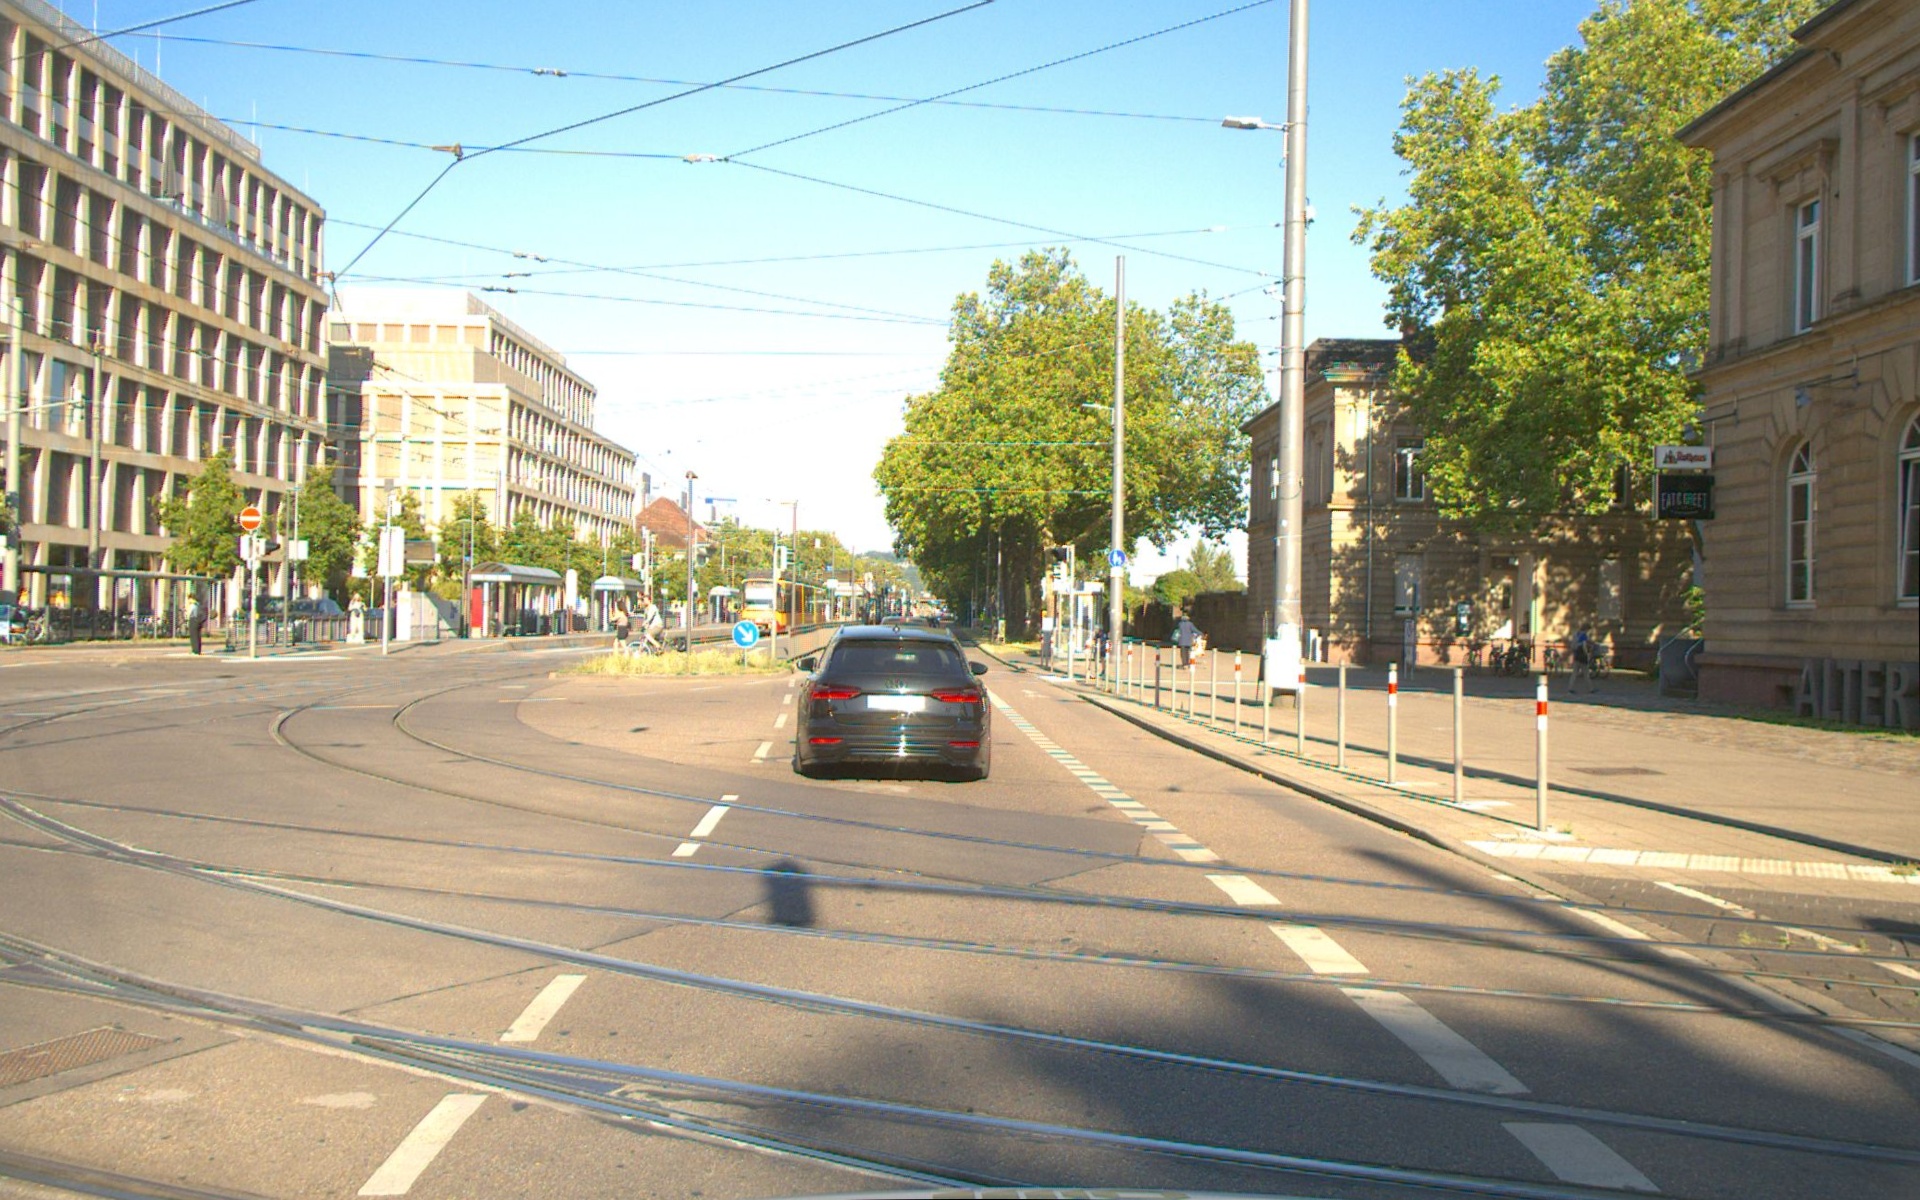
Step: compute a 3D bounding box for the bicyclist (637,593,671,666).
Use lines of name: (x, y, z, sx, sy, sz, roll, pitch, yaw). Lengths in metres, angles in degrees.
bicyclist: (-7.847, 0.761, 42.394, 0.744, 1.850, 0.761, 1, 0, -17)

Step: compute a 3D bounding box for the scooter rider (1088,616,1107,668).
scooter rider: (3.708, 1.125, 44.546, 0.475, 1.410, 0.377, 0, -2, -3)

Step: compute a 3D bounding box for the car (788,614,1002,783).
car: (-0.585, 0.907, 16.750, 1.864, 1.446, 4.144, 2, -1, 0)

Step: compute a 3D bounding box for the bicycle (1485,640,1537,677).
bicycle: (17.066, 1.795, 51.277, 0.516, 1.065, 2.354, 1, 0, -9)

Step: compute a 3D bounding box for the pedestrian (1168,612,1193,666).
pedestrian: (6.991, 1.218, 52.478, 0.668, 1.690, 0.758, 1, 0, -3)

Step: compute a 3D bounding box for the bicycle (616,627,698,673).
bicycle: (-7.771, 1.281, 42.394, 1.974, 1.128, 0.761, 1, 0, -18)

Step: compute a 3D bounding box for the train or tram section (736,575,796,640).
train or tram section: (-11.229, 0.425, 96.568, 2.556, 3.511, 11.126, 1, 0, -2)

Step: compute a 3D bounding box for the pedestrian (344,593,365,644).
pedestrian: (-19.982, 0.606, 54.586, 0.609, 1.693, 0.510, 1, -1, -26)

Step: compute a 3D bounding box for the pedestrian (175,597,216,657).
pedestrian: (-20.221, 0.712, 43.740, 0.741, 1.559, 0.625, 1, 0, 3)

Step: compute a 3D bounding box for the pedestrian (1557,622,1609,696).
pedestrian: (16.202, 1.523, 43.003, 0.962, 1.898, 0.824, 1, 0, -14)

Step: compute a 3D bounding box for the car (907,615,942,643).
car: (-2.016, 1.636, 94.081, 1.864, 1.512, 4.144, 2, -1, 0)

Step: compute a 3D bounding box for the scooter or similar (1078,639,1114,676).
scooter or similar: (3.657, 1.536, 44.532, 0.920, 0.983, 0.361, 0, -2, -3)

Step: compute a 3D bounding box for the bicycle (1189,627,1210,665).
bicycle: (7.595, 1.456, 52.511, 0.426, 1.165, 1.339, 1, 0, -2)

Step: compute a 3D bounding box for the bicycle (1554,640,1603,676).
bicycle: (19.456, 1.823, 52.058, 0.515, 1.065, 2.228, 1, 0, -5)

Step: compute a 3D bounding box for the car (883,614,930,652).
car: (-2.249, 1.391, 70.619, 1.864, 1.512, 4.144, 2, -1, 0)

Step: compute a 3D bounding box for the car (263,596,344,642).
car: (-27.204, 0.777, 68.656, 1.804, 1.844, 4.111, 1, 0, -2)

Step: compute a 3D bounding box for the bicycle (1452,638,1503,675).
bicycle: (16.023, 1.749, 51.280, 0.516, 1.065, 2.354, 1, 0, -9)

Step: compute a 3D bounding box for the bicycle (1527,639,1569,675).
bicycle: (18.420, 1.772, 51.831, 0.515, 1.065, 2.231, 1, 0, 0)

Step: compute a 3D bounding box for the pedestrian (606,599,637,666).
pedestrian: (-9.044, 0.875, 44.243, 0.725, 1.772, 0.663, 1, 0, -6)

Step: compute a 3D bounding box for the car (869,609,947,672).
car: (-1.295, 1.027, 42.877, 1.864, 1.512, 4.144, 2, -1, 0)
